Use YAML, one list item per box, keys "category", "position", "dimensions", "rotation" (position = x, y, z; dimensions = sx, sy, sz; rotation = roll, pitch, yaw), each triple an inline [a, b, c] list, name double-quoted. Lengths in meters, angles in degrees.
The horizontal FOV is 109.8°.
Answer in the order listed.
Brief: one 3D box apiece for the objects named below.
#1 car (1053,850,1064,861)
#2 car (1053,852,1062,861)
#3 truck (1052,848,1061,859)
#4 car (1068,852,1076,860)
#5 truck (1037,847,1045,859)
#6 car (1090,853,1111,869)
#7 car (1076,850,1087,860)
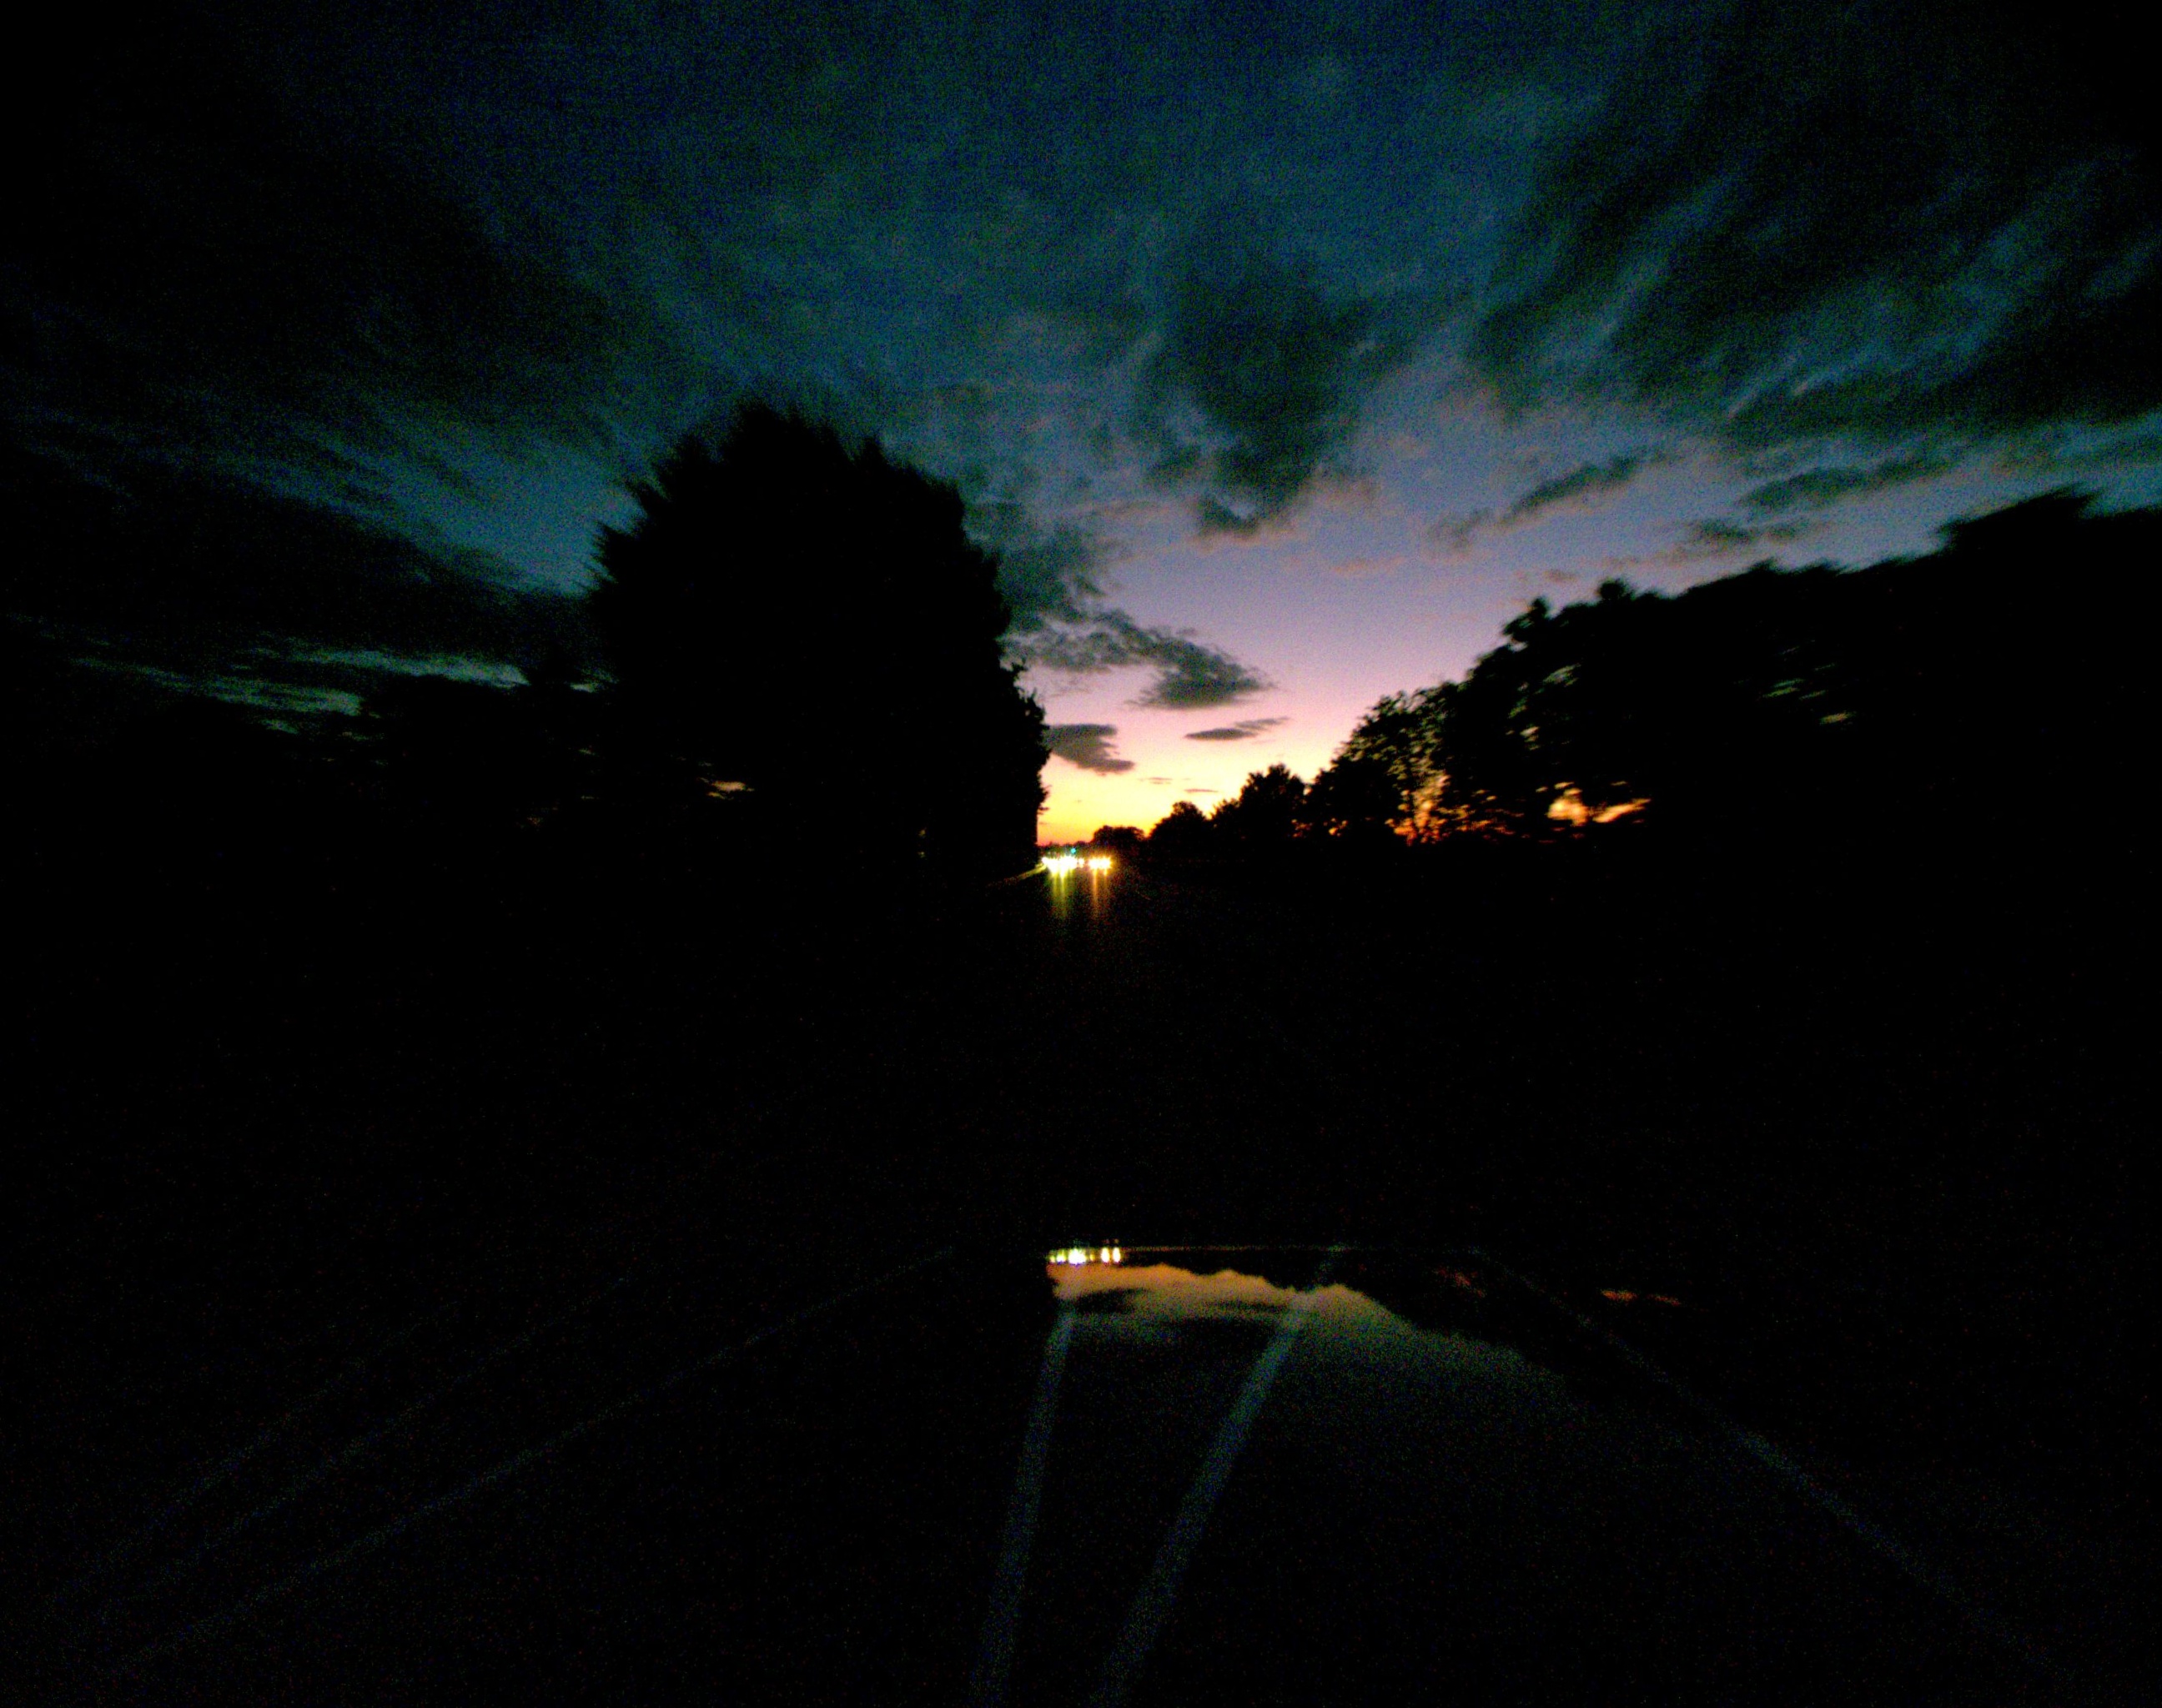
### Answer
- category: "car"
  position: [-4.092, 0.255, 138.379]
  dimensions: [1.741, 2.002, 3.999]
  rotation: [-2, 0, -2]
- category: "car"
  position: [-5.697, 0.591, 184.911]
  dimensions: [1.999, 2.002, 3.999]
  rotation: [-2, 0, -2]
- category: "truck"
  position: [-8.412, -0.283, 258.493]
  dimensions: [3.016, 3.674, 9.056]
  rotation: [-2, 0, -2]
- category: "car"
  position: [-2.271, 0.589, 197.211]
  dimensions: [1.999, 2.002, 3.999]
  rotation: [-2, 0, -1]
- category: "truck"
  position: [-13.130, -0.225, 250.271]
  dimensions: [2.491, 3.778, 5.497]
  rotation: [-2, 1, -1]
- category: "car"
  position: [2.080, 0.740, 81.941]
  dimensions: [1.999, 1.635, 4.296]
  rotation: [-2, 0, -1]
- category: "car"
  position: [0.083, 0.198, 145.205]
  dimensions: [1.999, 1.778, 3.999]
  rotation: [-2, 0, -3]
